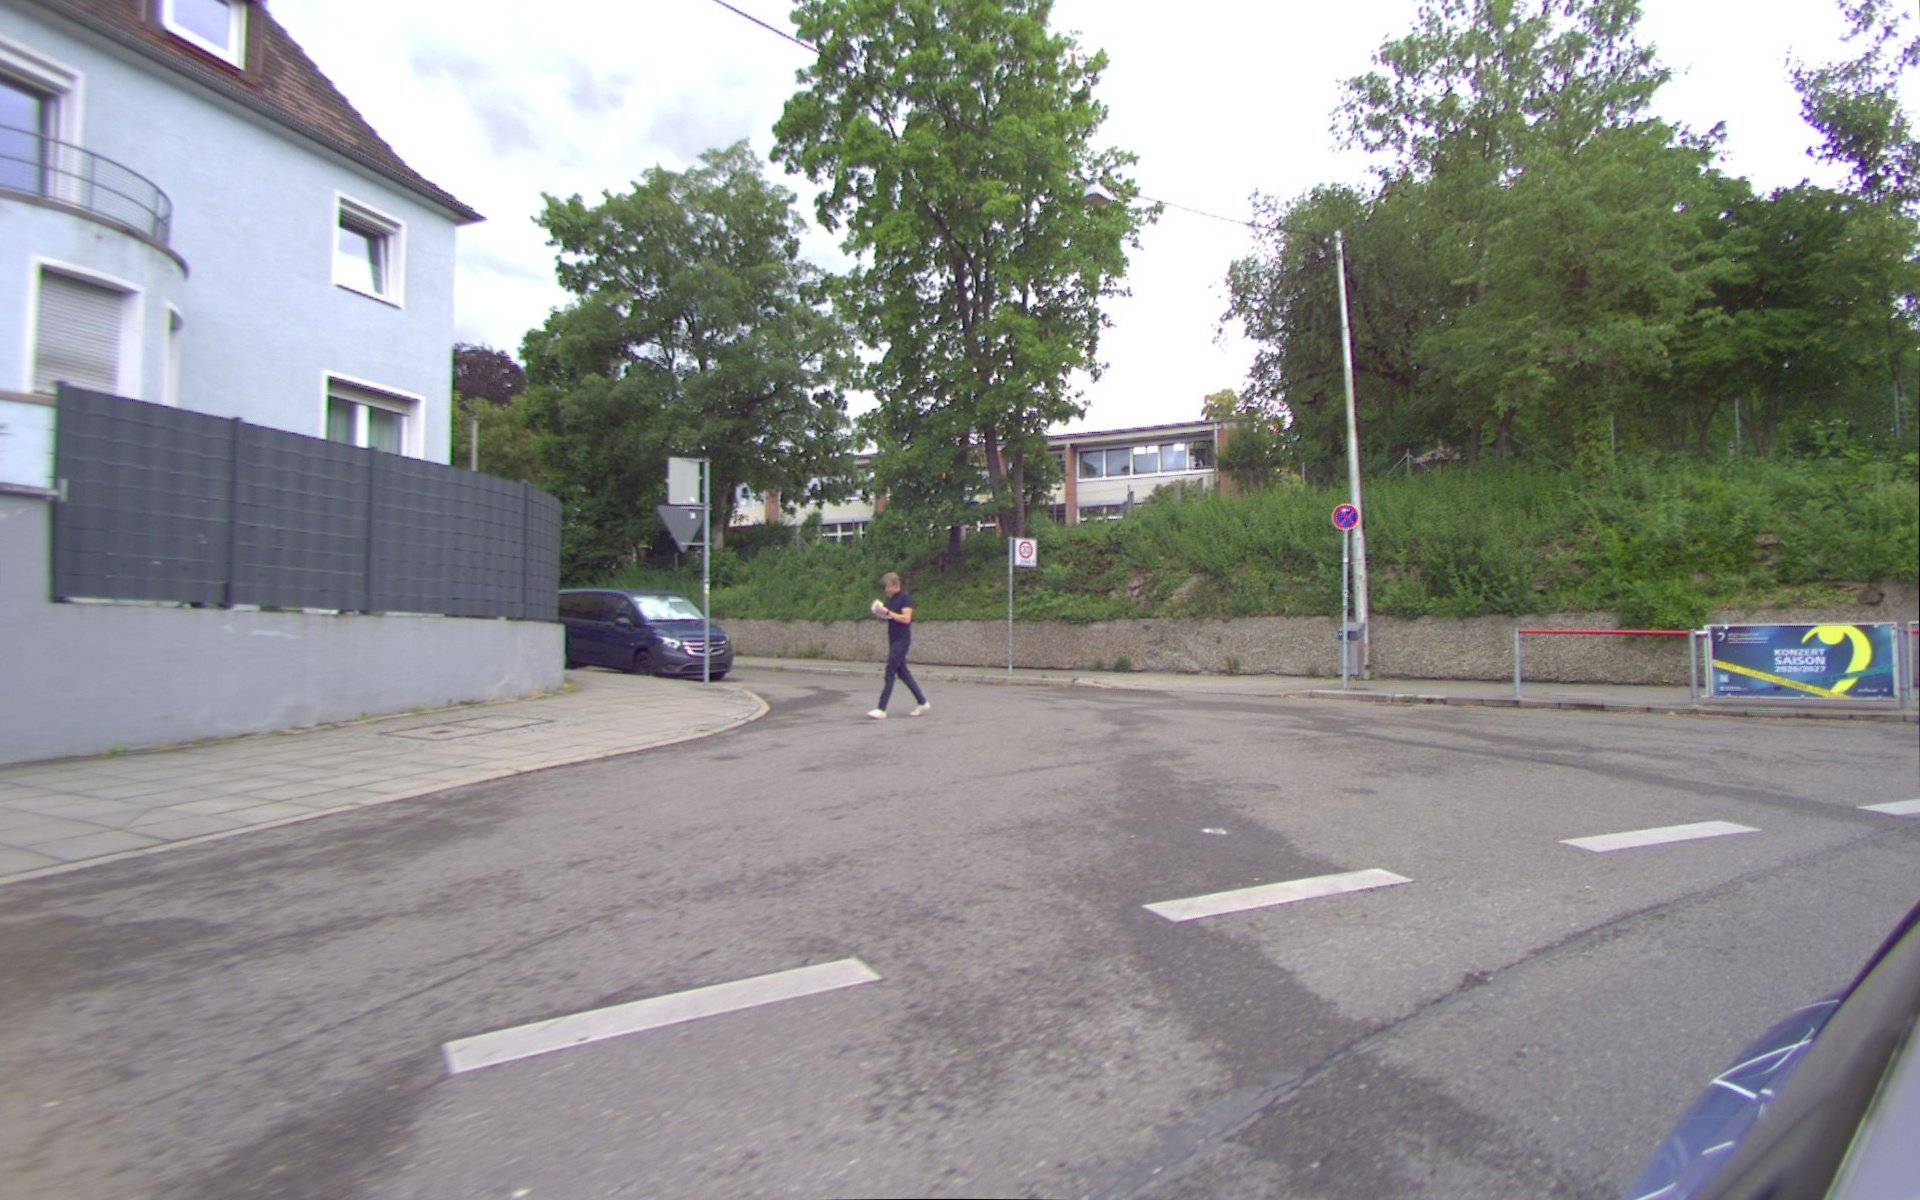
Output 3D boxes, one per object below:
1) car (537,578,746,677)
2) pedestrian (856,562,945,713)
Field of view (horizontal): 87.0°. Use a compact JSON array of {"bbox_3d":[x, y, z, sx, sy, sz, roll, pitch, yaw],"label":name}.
[{"bbox_3d":[-6.847,0.577,21.519,4.815,1.888,1.923,-1,-2,39],"label":"car"},{"bbox_3d":[-0.753,0.467,12.806,0.964,1.852,0.575,1,-1,-24],"label":"pedestrian"}]
